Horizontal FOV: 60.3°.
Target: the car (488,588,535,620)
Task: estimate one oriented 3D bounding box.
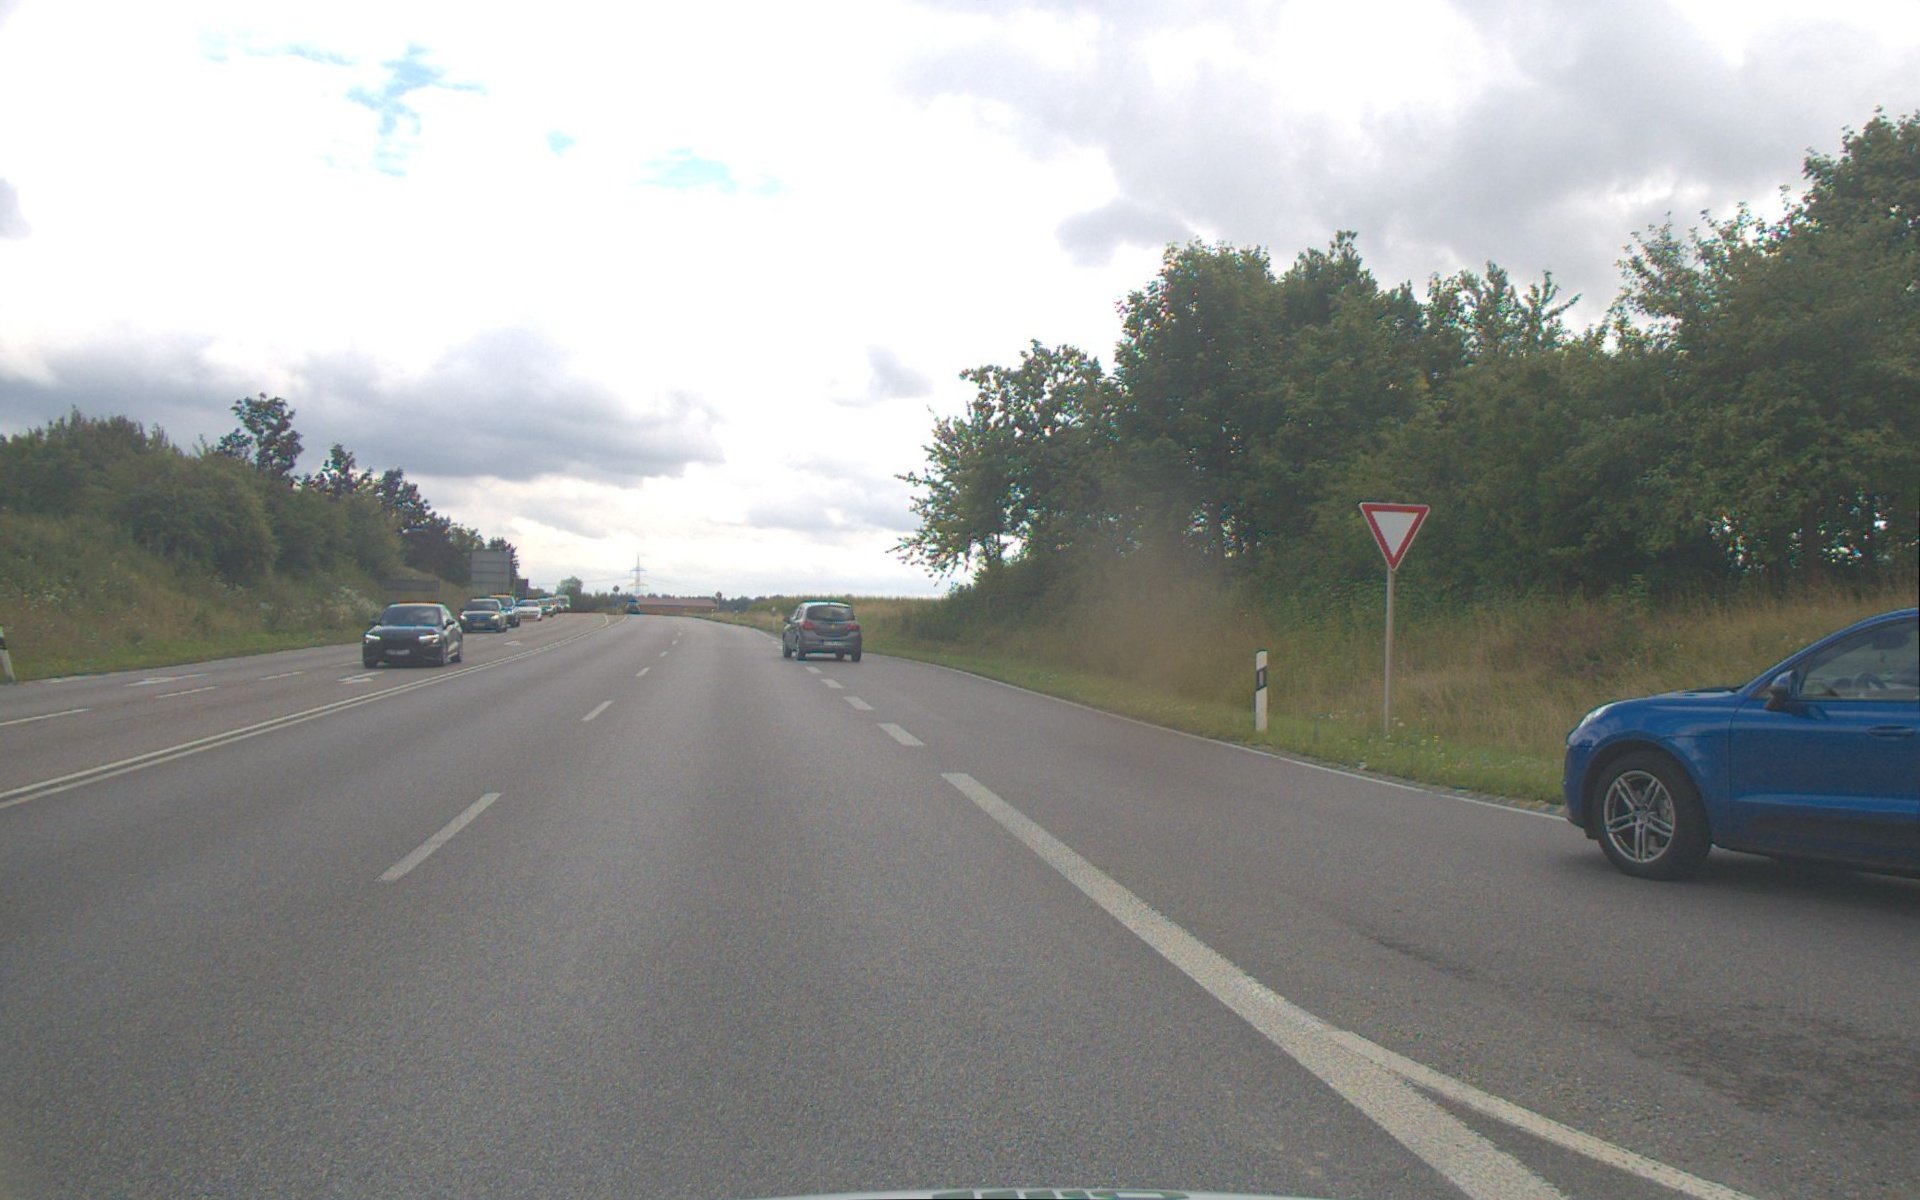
[{"bbox_3d":[-24.349,0.208,89.961,1.957,1.639,4.982,0,0,-9],"label":"car"}]

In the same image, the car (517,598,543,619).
[{"bbox_3d":[-30.179,0.578,116.257,1.639,1.467,4.132,0,0,-13],"label":"car"}]

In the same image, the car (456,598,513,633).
[{"bbox_3d":[-21.396,0.674,74.614,1.957,1.520,4.981,0,0,-10],"label":"car"}]

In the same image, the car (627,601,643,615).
[{"bbox_3d":[-42.804,1.038,217.597,1.957,1.745,3.991,0,0,-10],"label":"car"}]

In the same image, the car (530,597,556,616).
[{"bbox_3d":[-34.700,0.538,137.672,1.961,1.534,3.982,0,0,-16],"label":"car"}]

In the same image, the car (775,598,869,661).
[{"bbox_3d":[-3.705,0.755,43.774,1.959,1.562,3.987,1,0,-13],"label":"car"}]

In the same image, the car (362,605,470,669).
[{"bbox_3d":[-12.718,0.825,38.910,1.733,1.407,4.533,0,0,-10],"label":"car"}]

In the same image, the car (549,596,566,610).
[{"bbox_3d":[-44.284,0.321,182.097,1.735,1.467,3.987,0,0,-13],"label":"car"}]

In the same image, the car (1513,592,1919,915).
[{"bbox_3d":[5.504,0.761,8.872,1.973,1.598,4.706,0,0,-31],"label":"car"}]
